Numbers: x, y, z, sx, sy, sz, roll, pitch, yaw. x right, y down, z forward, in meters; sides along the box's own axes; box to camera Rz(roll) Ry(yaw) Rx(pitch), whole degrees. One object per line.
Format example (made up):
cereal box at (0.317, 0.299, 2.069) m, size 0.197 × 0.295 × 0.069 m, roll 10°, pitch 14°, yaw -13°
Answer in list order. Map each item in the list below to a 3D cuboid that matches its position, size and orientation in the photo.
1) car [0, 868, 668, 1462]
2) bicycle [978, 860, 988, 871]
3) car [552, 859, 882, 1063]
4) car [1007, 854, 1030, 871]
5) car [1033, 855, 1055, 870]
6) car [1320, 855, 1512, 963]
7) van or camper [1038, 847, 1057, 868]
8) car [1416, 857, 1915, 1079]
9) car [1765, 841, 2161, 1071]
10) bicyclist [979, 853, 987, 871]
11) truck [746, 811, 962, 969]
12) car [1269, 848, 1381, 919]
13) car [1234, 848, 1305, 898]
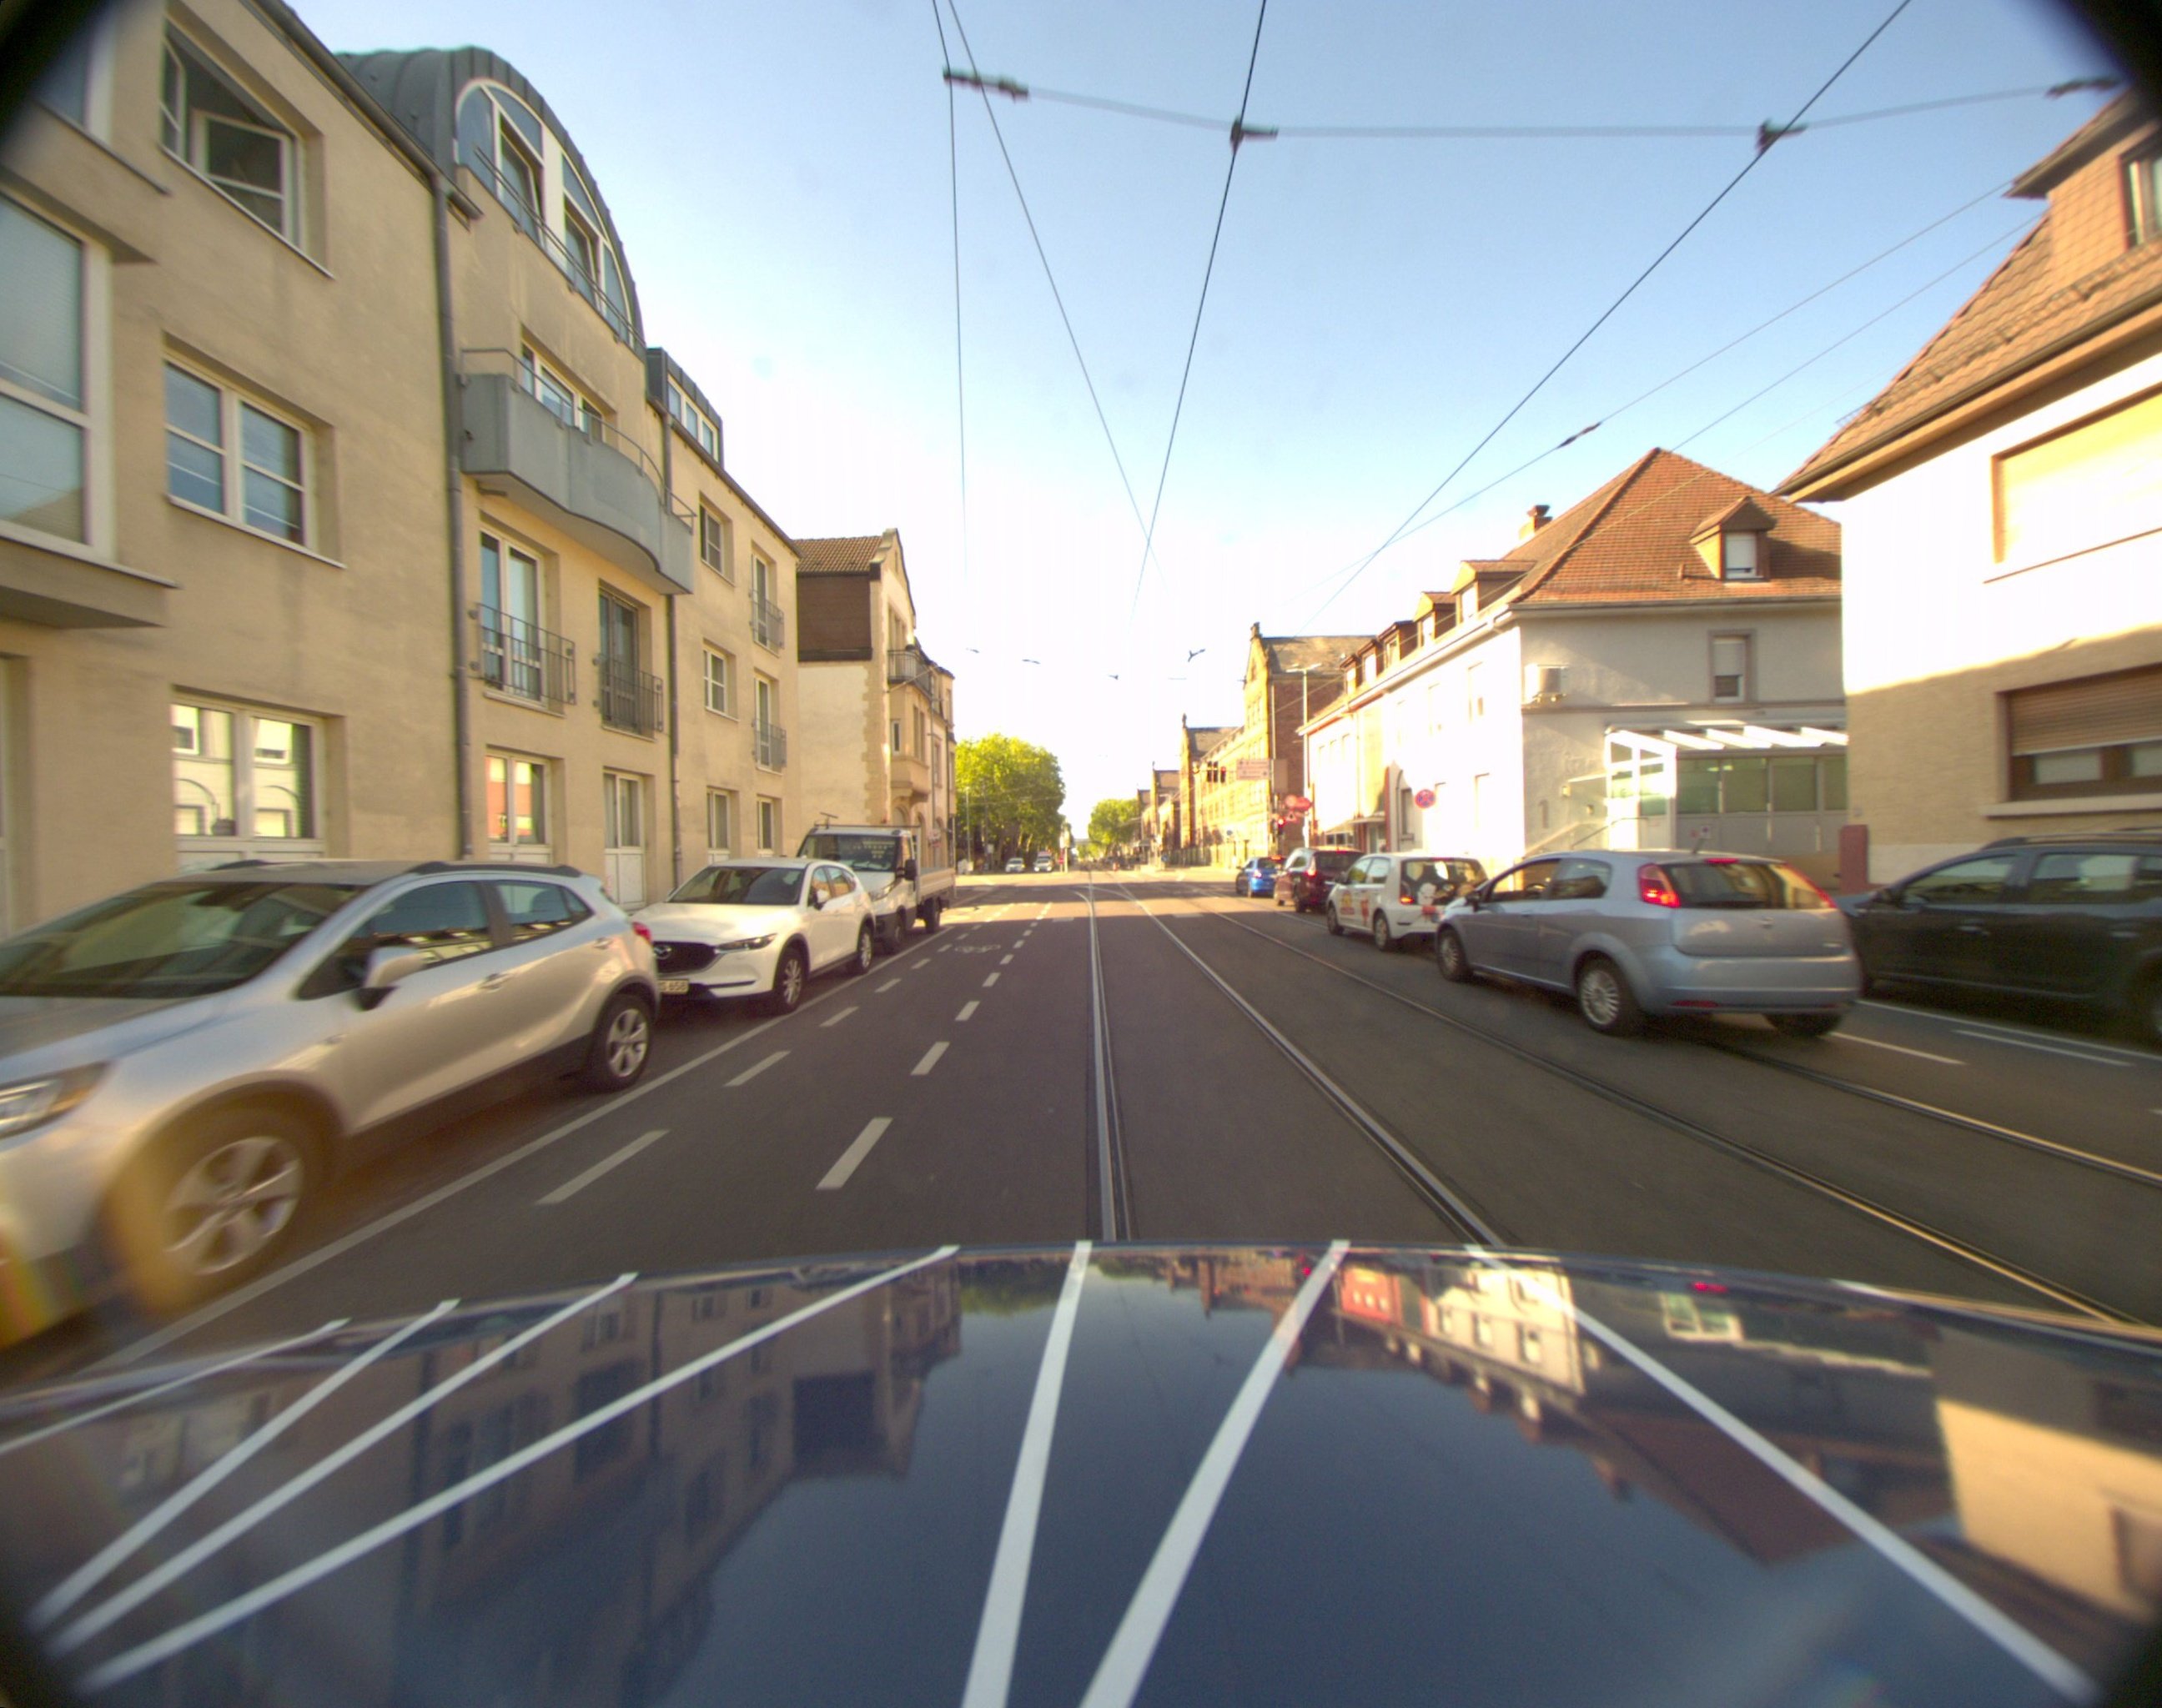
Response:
car at (-4.038, 1.002, 3.819) m, size 1.606 × 1.690 × 3.989 m, roll -3°, pitch 0°, yaw 1°
bicycle at (-9.650, 1.174, 75.163) m, size 0.690 × 1.027 × 2.100 m, roll -1°, pitch -2°, yaw 0°
car at (-3.890, 0.995, 9.081) m, size 1.743 × 1.736 × 4.255 m, roll -3°, pitch 0°, yaw 1°
car at (-6.588, 0.886, 80.338) m, size 1.911 × 1.608 × 4.572 m, roll -2°, pitch -1°, yaw 0°
car at (-3.937, 0.872, 81.825) m, size 1.984 × 1.539 × 4.035 m, roll -2°, pitch -1°, yaw 1°
car at (5.145, 0.751, 12.206) m, size 1.586 × 1.452 × 3.613 m, roll 0°, pitch 1°, yaw 2°
van or camper at (-3.979, 0.460, 91.219) m, size 1.998 × 2.346 × 5.600 m, roll -1°, pitch -1°, yaw 0°
car at (4.856, 0.782, 7.189) m, size 1.621 × 1.452 × 4.075 m, roll 0°, pitch 1°, yaw 1°
car at (8.385, 0.705, 6.441) m, size 1.619 × 1.618 × 3.921 m, roll 0°, pitch 1°, yaw 0°
bicyclist at (-9.655, 0.806, 74.899) m, size 0.670 × 1.718 × 0.623 m, roll -1°, pitch -2°, yaw 0°
truck at (-4.097, 0.565, 15.150) m, size 2.301 × 2.463 × 6.146 m, roll -1°, pitch 0°, yaw 1°
car at (6.110, 0.643, 19.610) m, size 1.742 × 1.602 × 4.716 m, roll 0°, pitch 1°, yaw 5°
car at (6.417, 0.602, 26.260) m, size 1.687 × 1.558 × 3.929 m, roll 1°, pitch 0°, yaw 4°
